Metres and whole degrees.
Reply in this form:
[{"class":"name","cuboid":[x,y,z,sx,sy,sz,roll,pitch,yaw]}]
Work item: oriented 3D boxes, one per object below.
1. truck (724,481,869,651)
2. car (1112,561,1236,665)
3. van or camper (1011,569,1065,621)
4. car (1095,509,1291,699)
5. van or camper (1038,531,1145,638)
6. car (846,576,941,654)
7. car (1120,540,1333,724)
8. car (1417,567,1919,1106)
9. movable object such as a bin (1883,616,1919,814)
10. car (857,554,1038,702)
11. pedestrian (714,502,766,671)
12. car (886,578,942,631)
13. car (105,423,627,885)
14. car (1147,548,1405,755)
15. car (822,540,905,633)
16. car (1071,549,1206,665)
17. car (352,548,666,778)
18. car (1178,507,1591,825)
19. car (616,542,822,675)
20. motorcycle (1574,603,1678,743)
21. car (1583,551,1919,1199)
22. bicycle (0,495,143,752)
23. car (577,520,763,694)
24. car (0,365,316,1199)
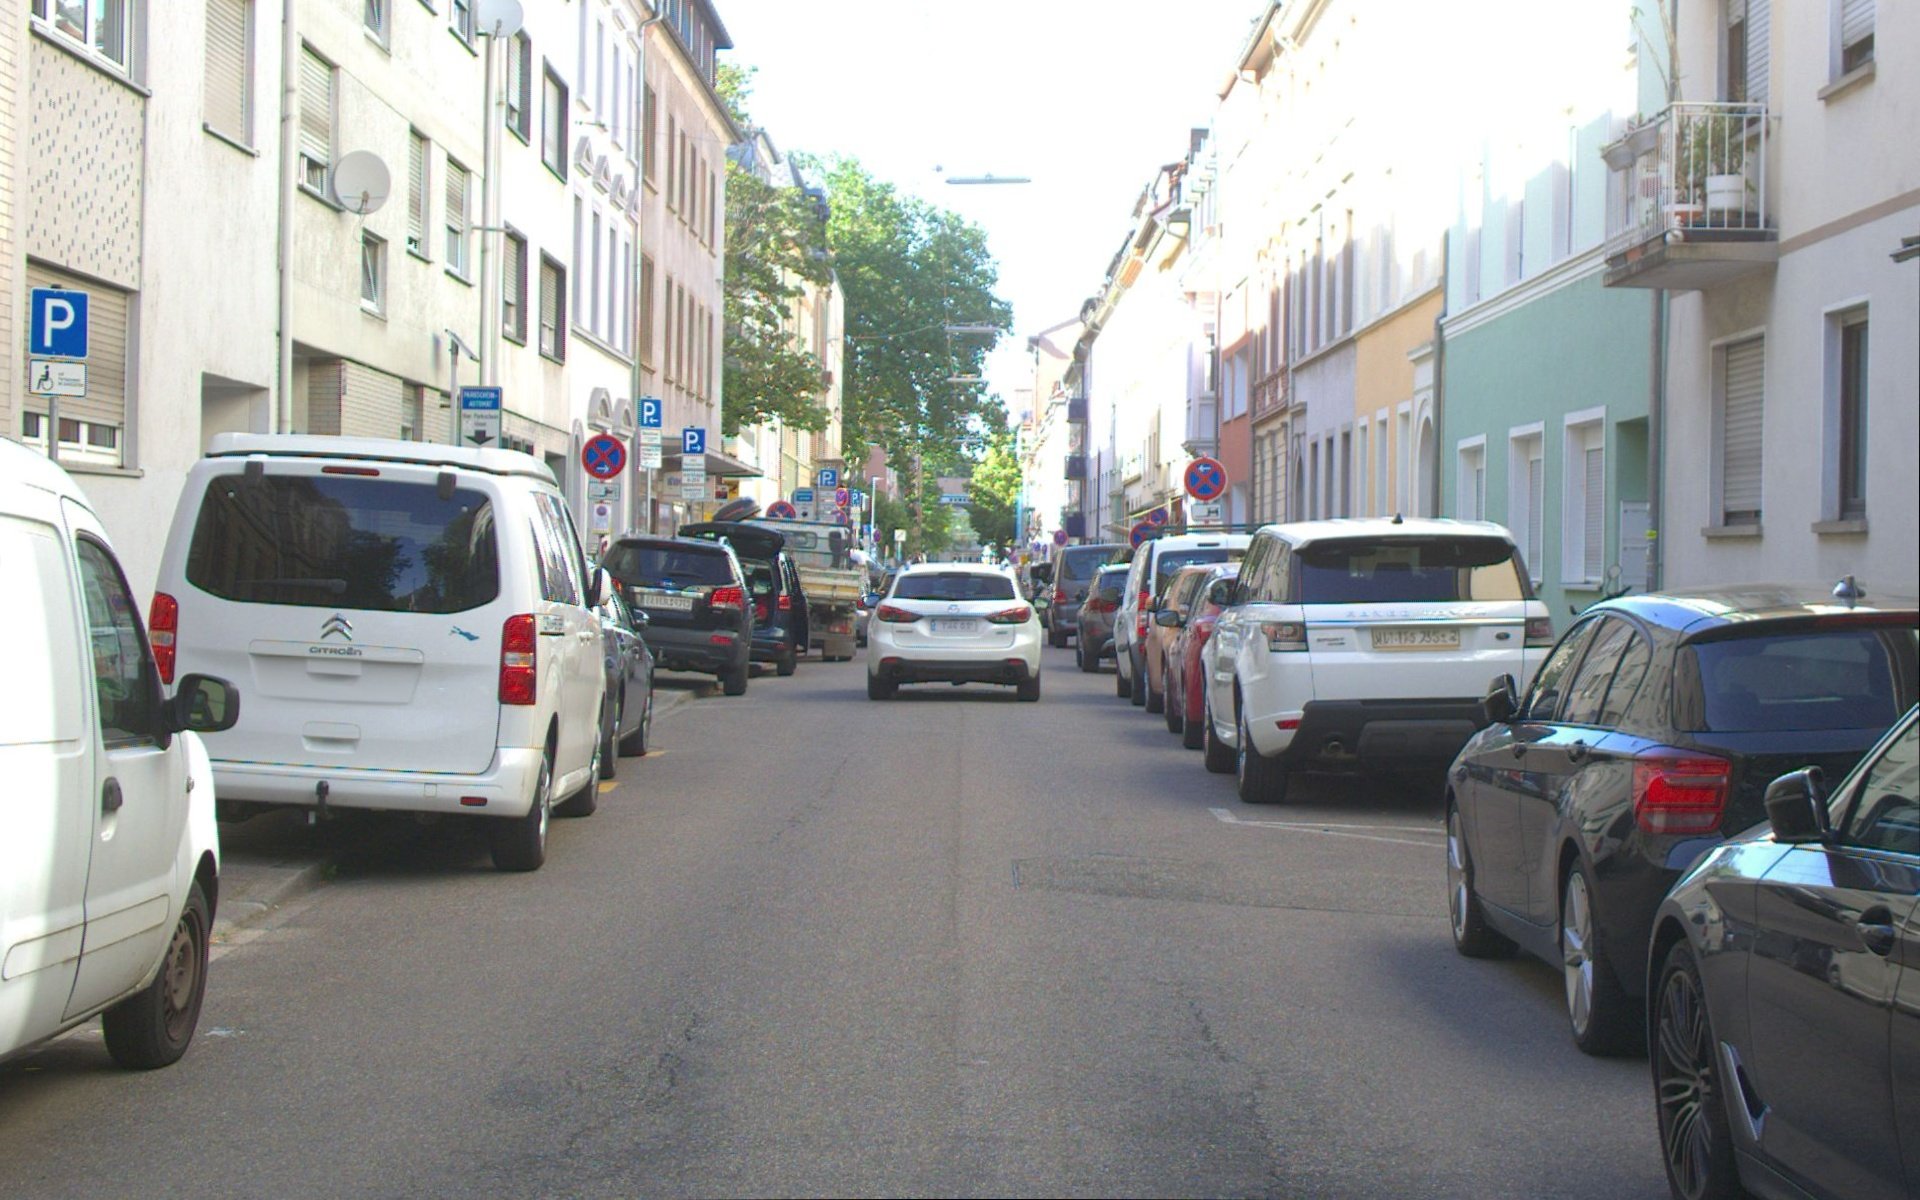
[{"class":"truck","cuboid":[-2.716,-0.487,55.667,2.156,2.581,6.250,0,-1,-4]},{"class":"car","cuboid":[3.454,0.183,56.008,1.742,1.563,4.032,1,1,0]},{"class":"van or camper","cuboid":[2.968,-0.177,131.191,1.993,1.919,4.000,0,-1,1]},{"class":"car","cuboid":[2.515,0.031,37.973,1.782,1.955,4.336,1,0,-1]},{"class":"van or camper","cuboid":[2.571,-0.317,68.030,1.775,2.029,4.570,-1,0,-2]},{"class":"car","cuboid":[-1.287,0.266,66.748,1.758,1.411,4.000,-1,1,-1]},{"class":"car","cuboid":[2.534,0.266,33.403,1.580,1.626,3.682,2,1,-2]},{"class":"car","cuboid":[2.717,0.674,11.688,1.746,1.443,3.870,3,1,0]},{"class":"movable object such as a bin","cuboid":[5.441,0.628,18.945,0.577,1.067,0.553,0,0,3]},{"class":"car","cuboid":[-0.083,0.266,37.117,1.834,1.481,4.057,1,0,1]},{"class":"pedestrian","cuboid":[-2.911,-0.171,45.563,0.619,2.221,0.688,0,-1,0]},{"class":"car","cuboid":[-1.432,0.127,108.147,1.625,1.591,3.580,2,1,1]},{"class":"car","cuboid":[-2.862,0.190,17.615,1.894,1.951,4.782,3,1,-2]},{"class":"car","cuboid":[2.557,0.367,28.653,1.742,1.563,4.032,1,1,0]},{"class":"car","cuboid":[-2.029,-0.302,71.661,1.647,1.861,4.000,1,1,-2]},{"class":"car","cuboid":[2.585,0.069,50.550,1.739,1.571,4.378,1,1,0]},{"class":"car","cuboid":[-3.110,0.386,24.468,1.706,1.445,4.302,2,1,-1]},{"class":"car","cuboid":[2.568,0.323,22.017,2.005,1.777,4.939,1,1,0]},{"class":"car","cuboid":[-3.278,0.077,47.870,2.441,1.700,5.242,1,1,0]},{"class":"motorcycle","cuboid":[5.250,0.560,27.175,0.480,1.043,1.691,1,1,0]},{"class":"car","cuboid":[2.467,0.731,6.042,1.815,1.514,4.728,3,1,0]},{"class":"bicycle","cuboid":[-5.538,0.128,21.288,0.557,1.504,1.800,3,0,-3]},{"class":"car","cuboid":[-3.248,0.029,39.216,1.879,1.749,4.543,4,1,-3]},{"class":"car","cuboid":[-2.949,0.341,8.669,1.744,1.870,4.090,5,1,0]}]
